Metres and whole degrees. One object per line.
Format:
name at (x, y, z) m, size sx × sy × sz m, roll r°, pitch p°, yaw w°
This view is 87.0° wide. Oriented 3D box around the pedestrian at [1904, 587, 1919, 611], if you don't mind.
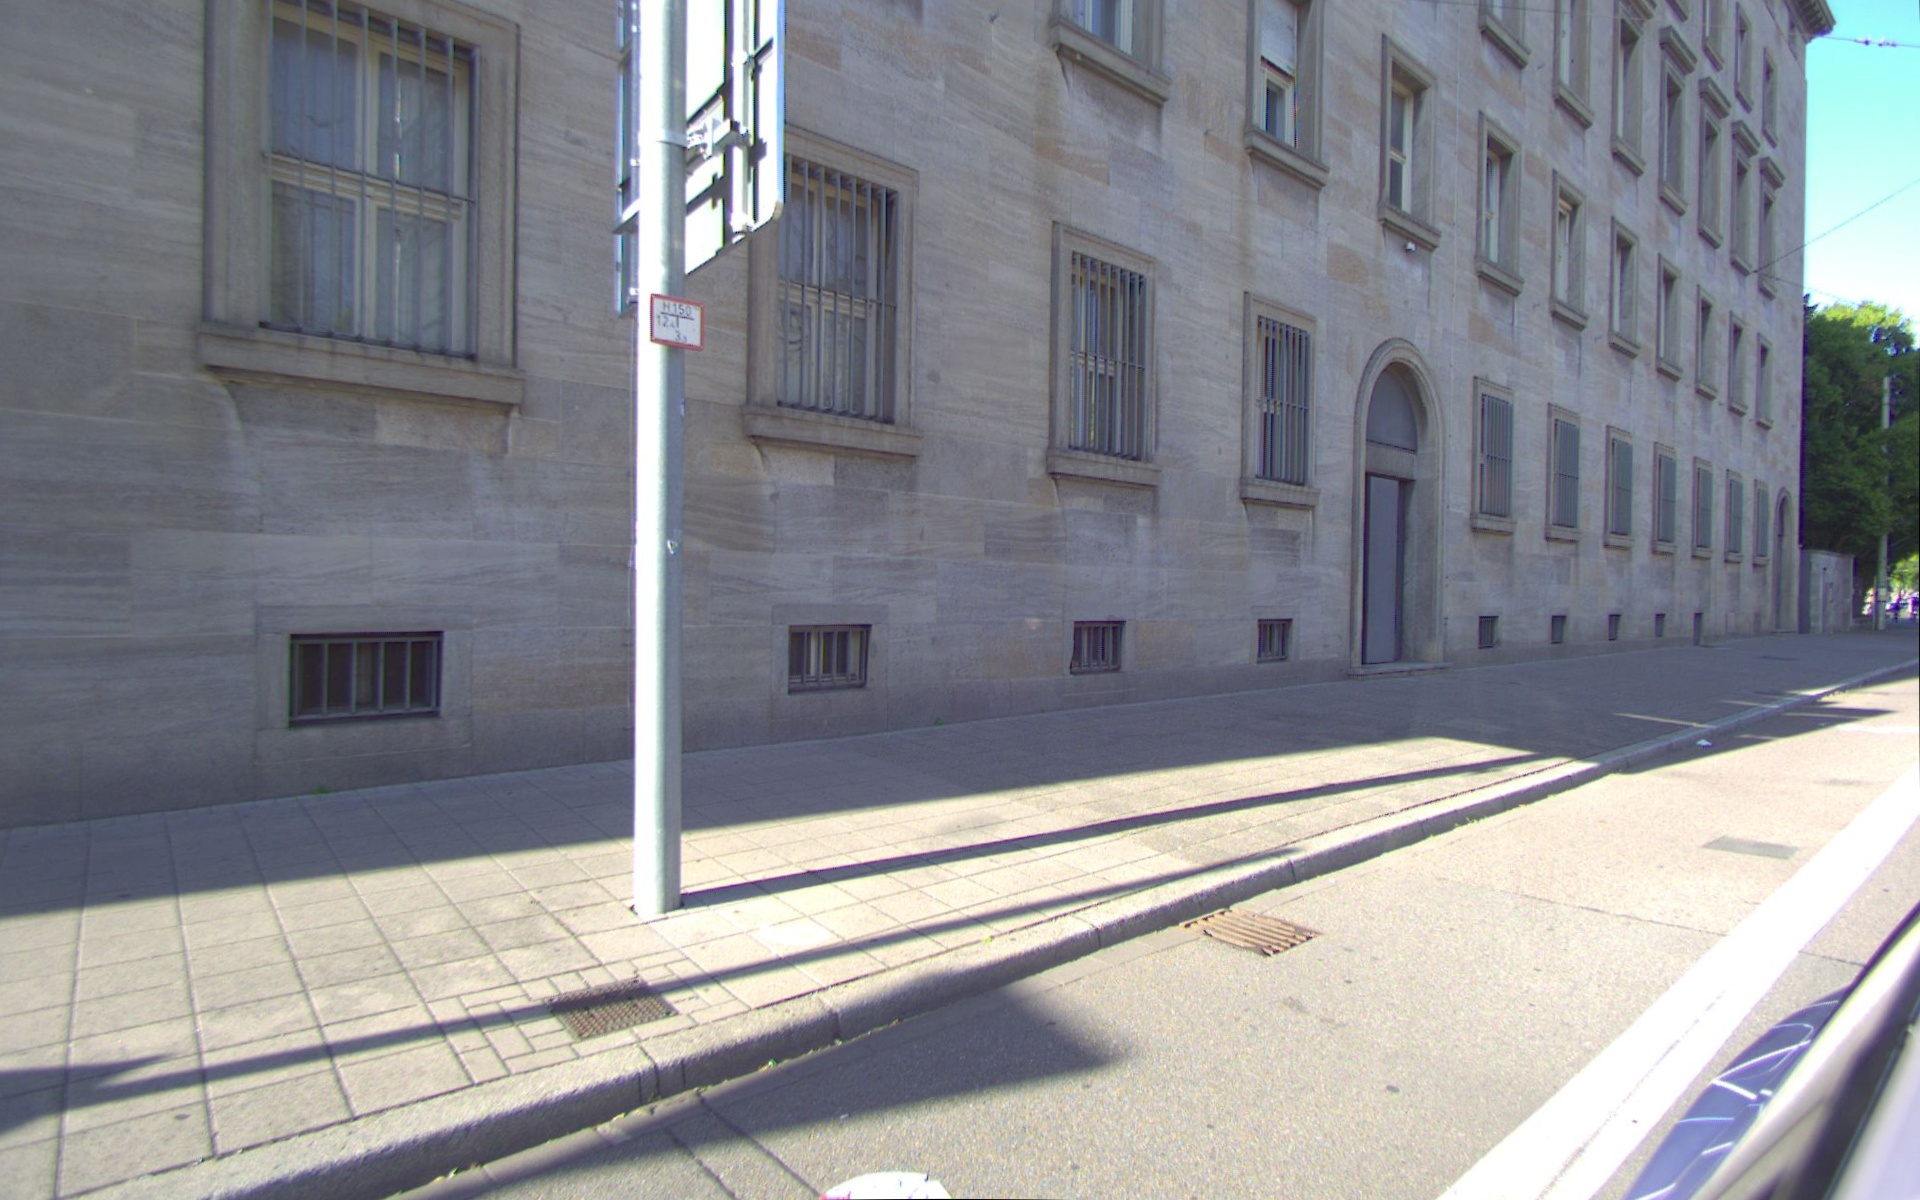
pedestrian at (71.127, -0.056, 75.633) m, size 0.828 × 1.742 × 0.792 m, roll 1°, pitch 1°, yaw 43°
